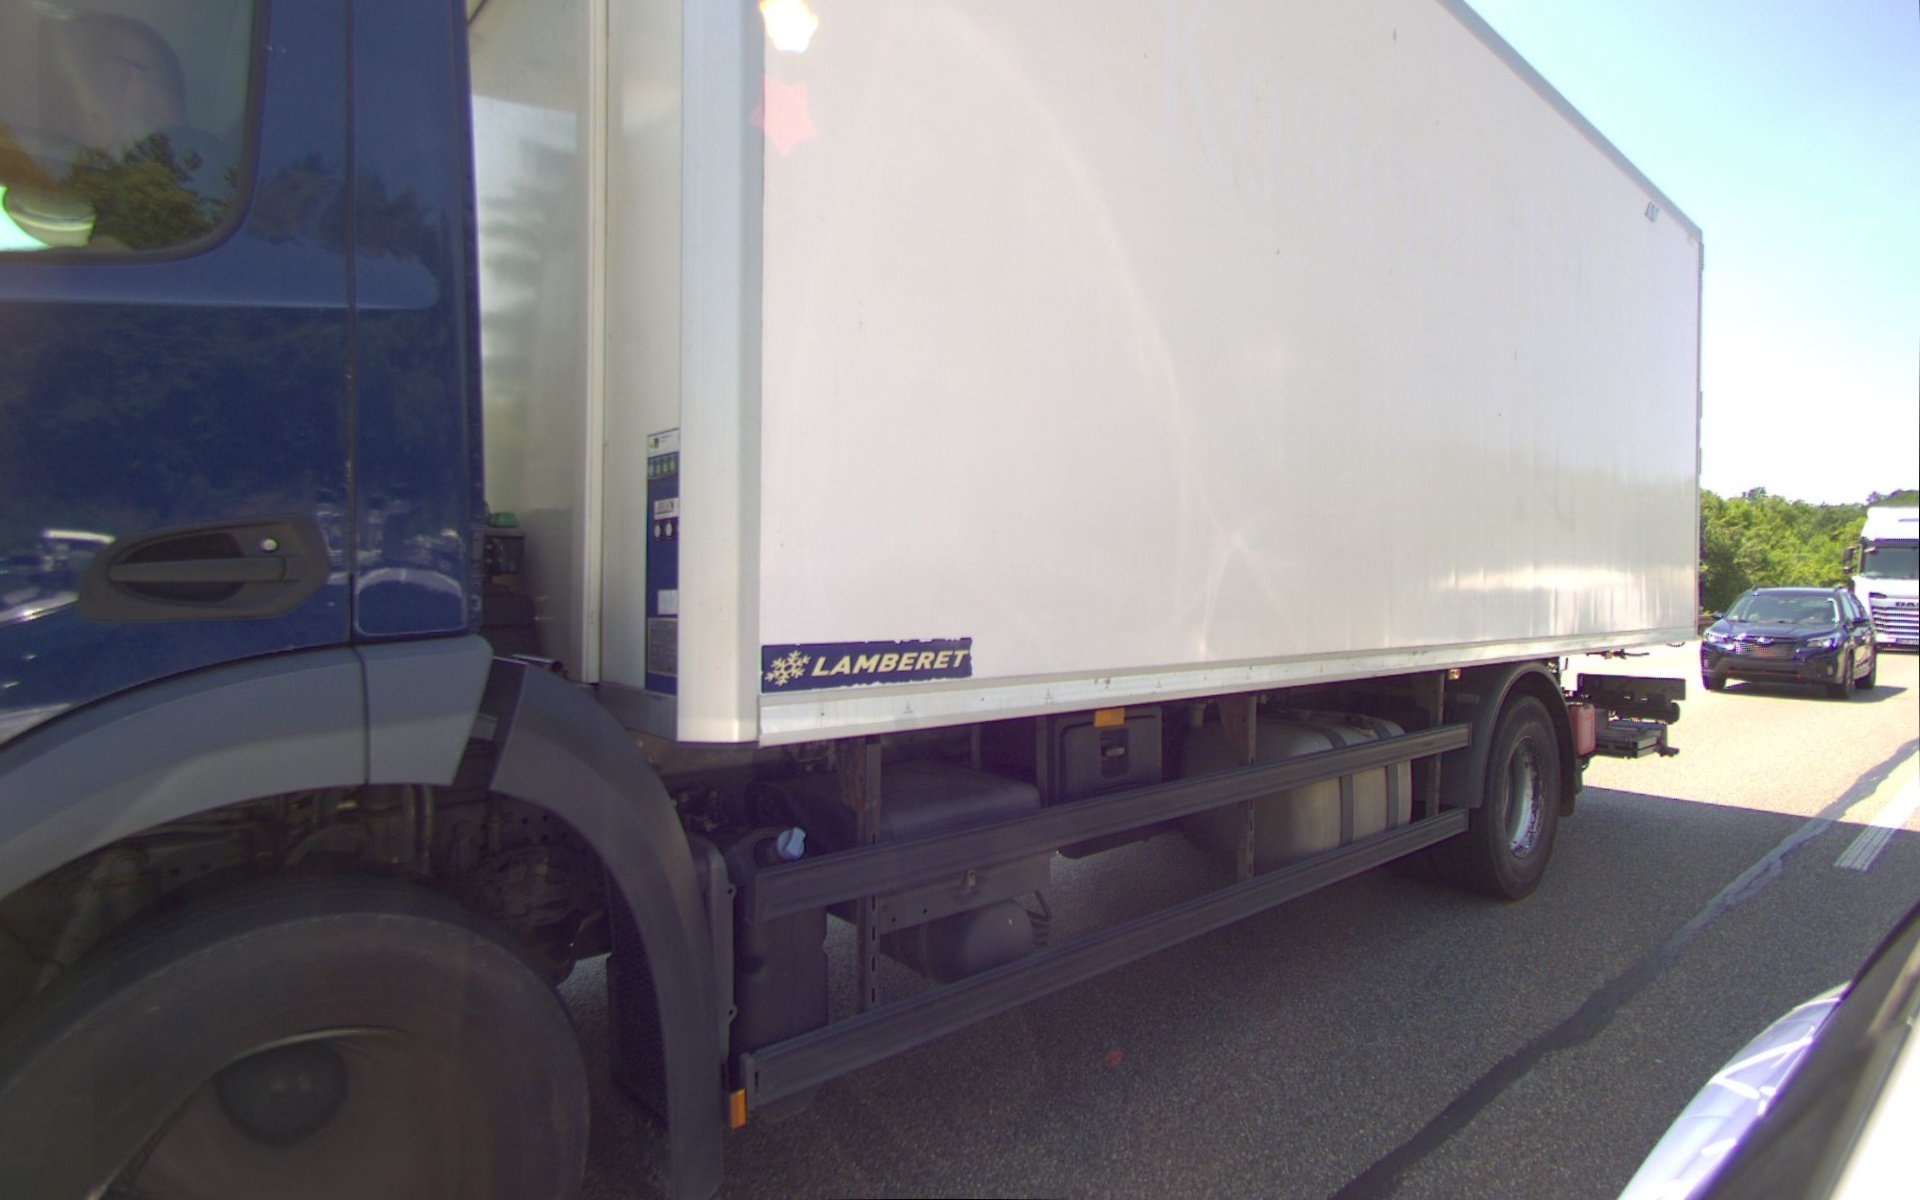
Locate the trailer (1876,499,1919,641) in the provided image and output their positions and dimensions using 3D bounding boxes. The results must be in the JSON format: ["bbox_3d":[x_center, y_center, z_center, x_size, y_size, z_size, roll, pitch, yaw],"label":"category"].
[{"bbox_3d":[32.603,-0.951,32.968,11.418,4.133,2.765,-1,3,-42],"label":"trailer"}]

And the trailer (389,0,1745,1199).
[{"bbox_3d":[1.658,-0.110,5.296,7.746,2.935,2.559,0,0,-42],"label":"trailer"}]

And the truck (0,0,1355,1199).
[{"bbox_3d":[-1.157,-0.058,2.786,4.032,2.977,2.561,-1,2,-40],"label":"truck"}]

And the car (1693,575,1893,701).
[{"bbox_3d":[13.611,0.476,16.435,4.535,1.713,1.995,-1,3,-44],"label":"car"}]

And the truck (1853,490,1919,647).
[{"bbox_3d":[27.990,-0.896,28.947,7.207,4.135,2.764,-1,1,-41],"label":"truck"}]
